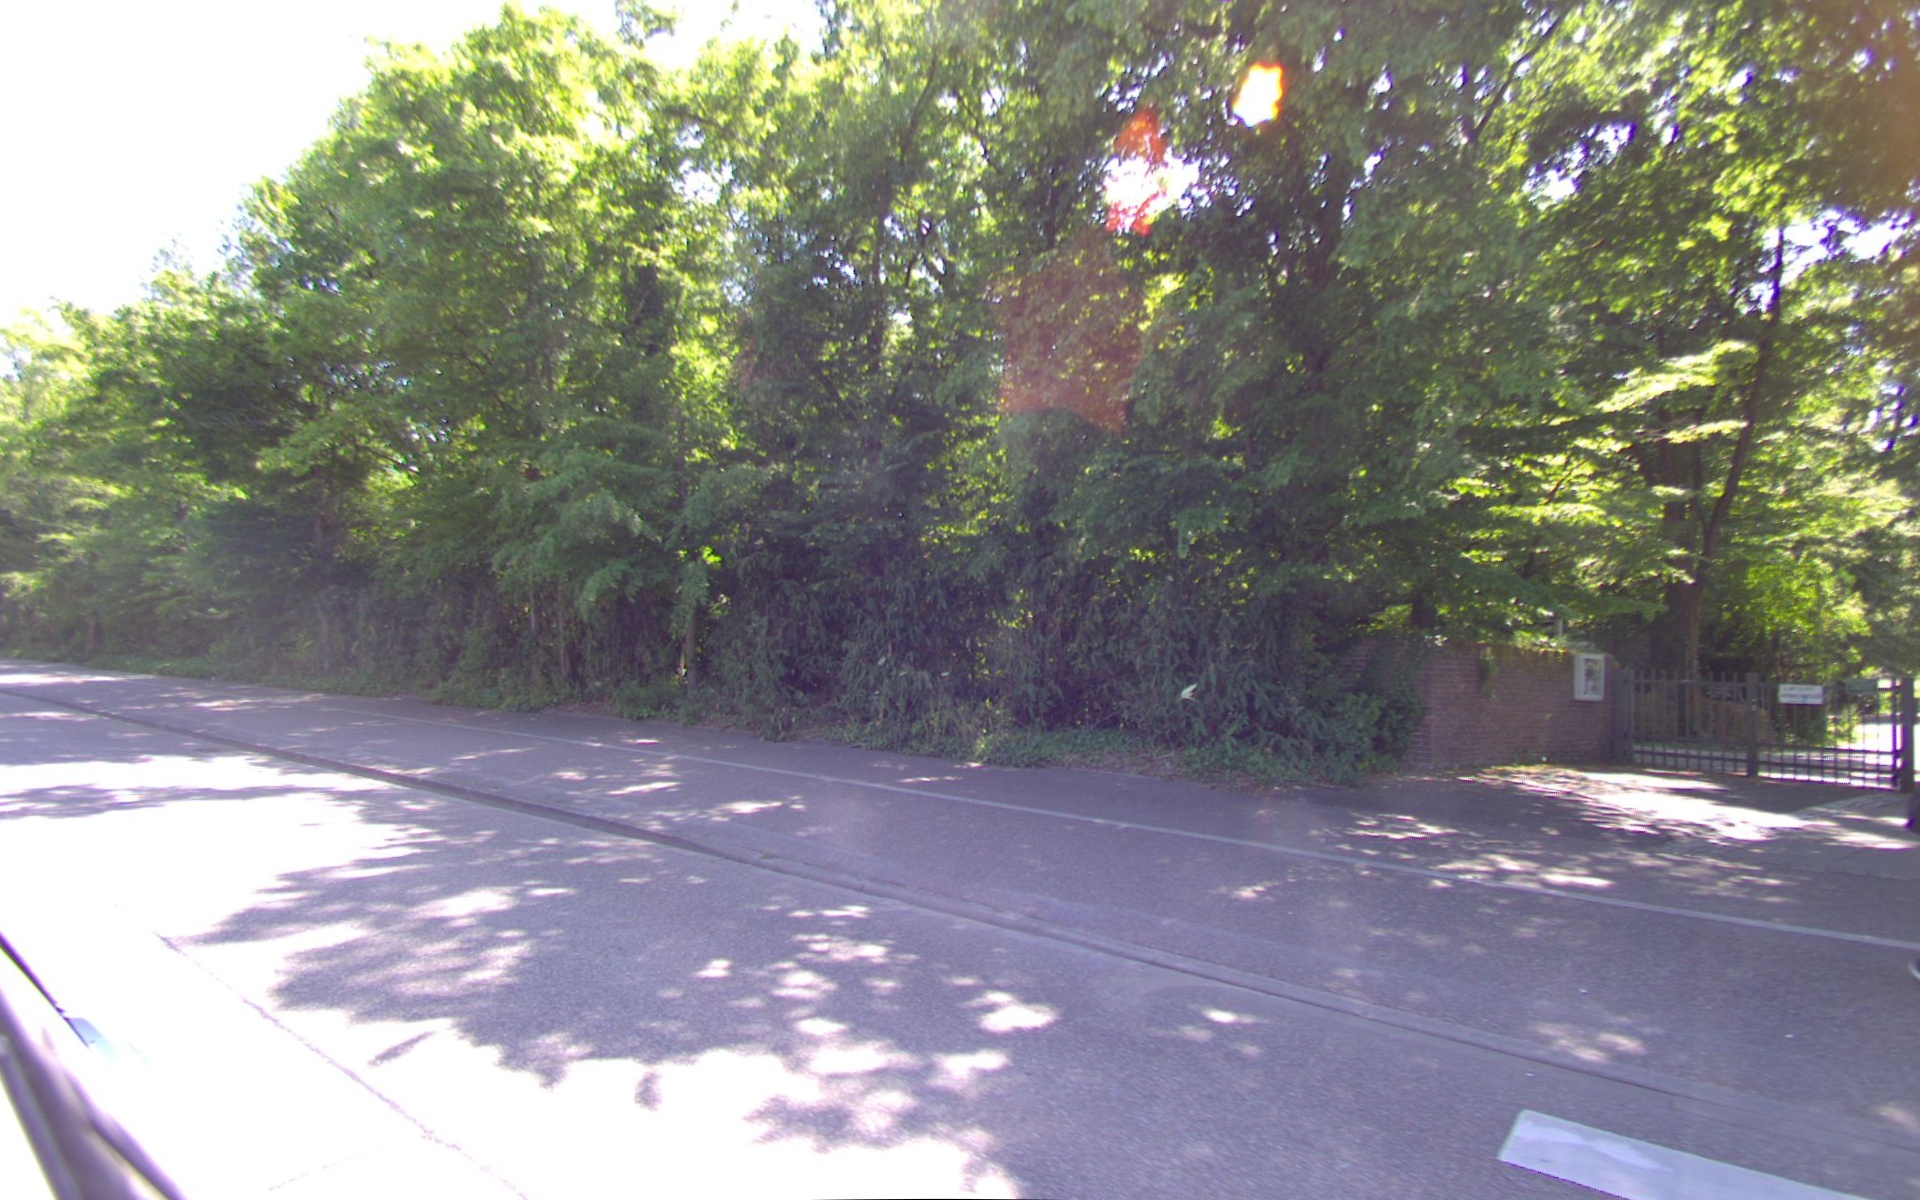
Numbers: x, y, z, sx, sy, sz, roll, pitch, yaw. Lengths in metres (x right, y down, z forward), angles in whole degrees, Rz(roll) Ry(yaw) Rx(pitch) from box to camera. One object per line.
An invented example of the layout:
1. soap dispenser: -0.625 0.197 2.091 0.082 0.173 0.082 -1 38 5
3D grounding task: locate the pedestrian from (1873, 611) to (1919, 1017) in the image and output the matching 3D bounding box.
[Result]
1. pedestrian: 4.282 0.867 4.031 0.778 1.623 0.887 -1 1 32
